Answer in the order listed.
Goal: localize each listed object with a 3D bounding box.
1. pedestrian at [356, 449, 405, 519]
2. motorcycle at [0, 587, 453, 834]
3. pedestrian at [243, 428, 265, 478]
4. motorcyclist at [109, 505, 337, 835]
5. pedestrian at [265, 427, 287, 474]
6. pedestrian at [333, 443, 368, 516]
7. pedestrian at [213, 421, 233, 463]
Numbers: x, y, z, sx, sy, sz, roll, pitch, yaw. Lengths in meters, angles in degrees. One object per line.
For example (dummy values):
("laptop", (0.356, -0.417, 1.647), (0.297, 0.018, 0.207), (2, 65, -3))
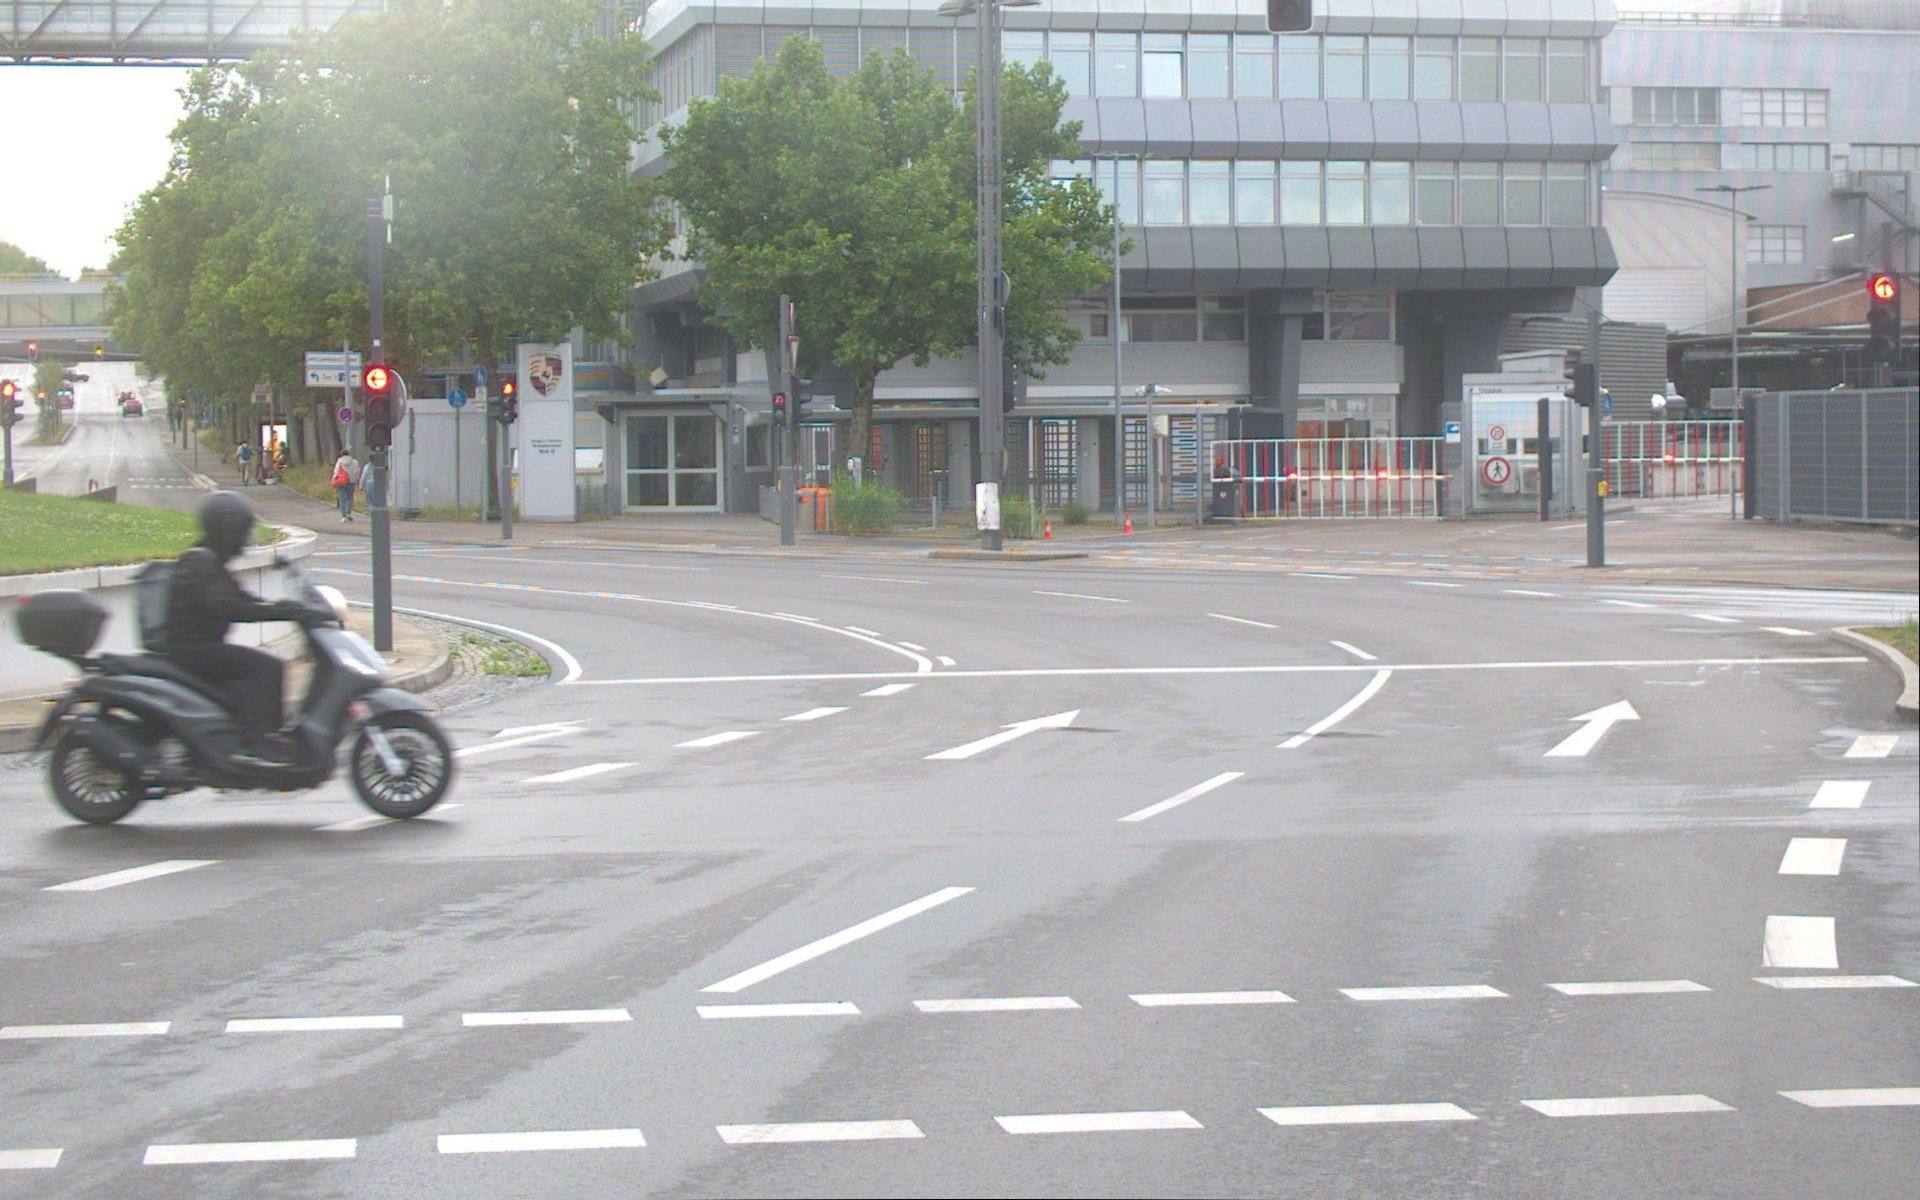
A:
("pedestrian", (-12.730, -2.559, 75.517), (0.831, 1.515, 0.842), (-2, 3, -24))
("motorcycle", (-3.707, 0.546, 17.307), (2.259, 1.188, 0.451), (-1, 2, -6))
("pedestrian", (-25.058, -5.230, 122.054), (0.711, 1.734, 0.760), (1, 0, -14))
("motorcyclist", (-3.696, 0.335, 17.309), (1.031, 1.617, 0.671), (-1, 2, -6))
("pedestrian", (-25.930, -5.676, 130.316), (0.757, 1.734, 0.714), (1, 0, -10))
("pedestrian", (-13.566, -2.682, 76.519), (0.709, 1.586, 0.841), (-1, 3, -9))
("pedestrian", (-35.571, -7.643, 165.934), (0.765, 2.006, 0.692), (0, 2, 3))
